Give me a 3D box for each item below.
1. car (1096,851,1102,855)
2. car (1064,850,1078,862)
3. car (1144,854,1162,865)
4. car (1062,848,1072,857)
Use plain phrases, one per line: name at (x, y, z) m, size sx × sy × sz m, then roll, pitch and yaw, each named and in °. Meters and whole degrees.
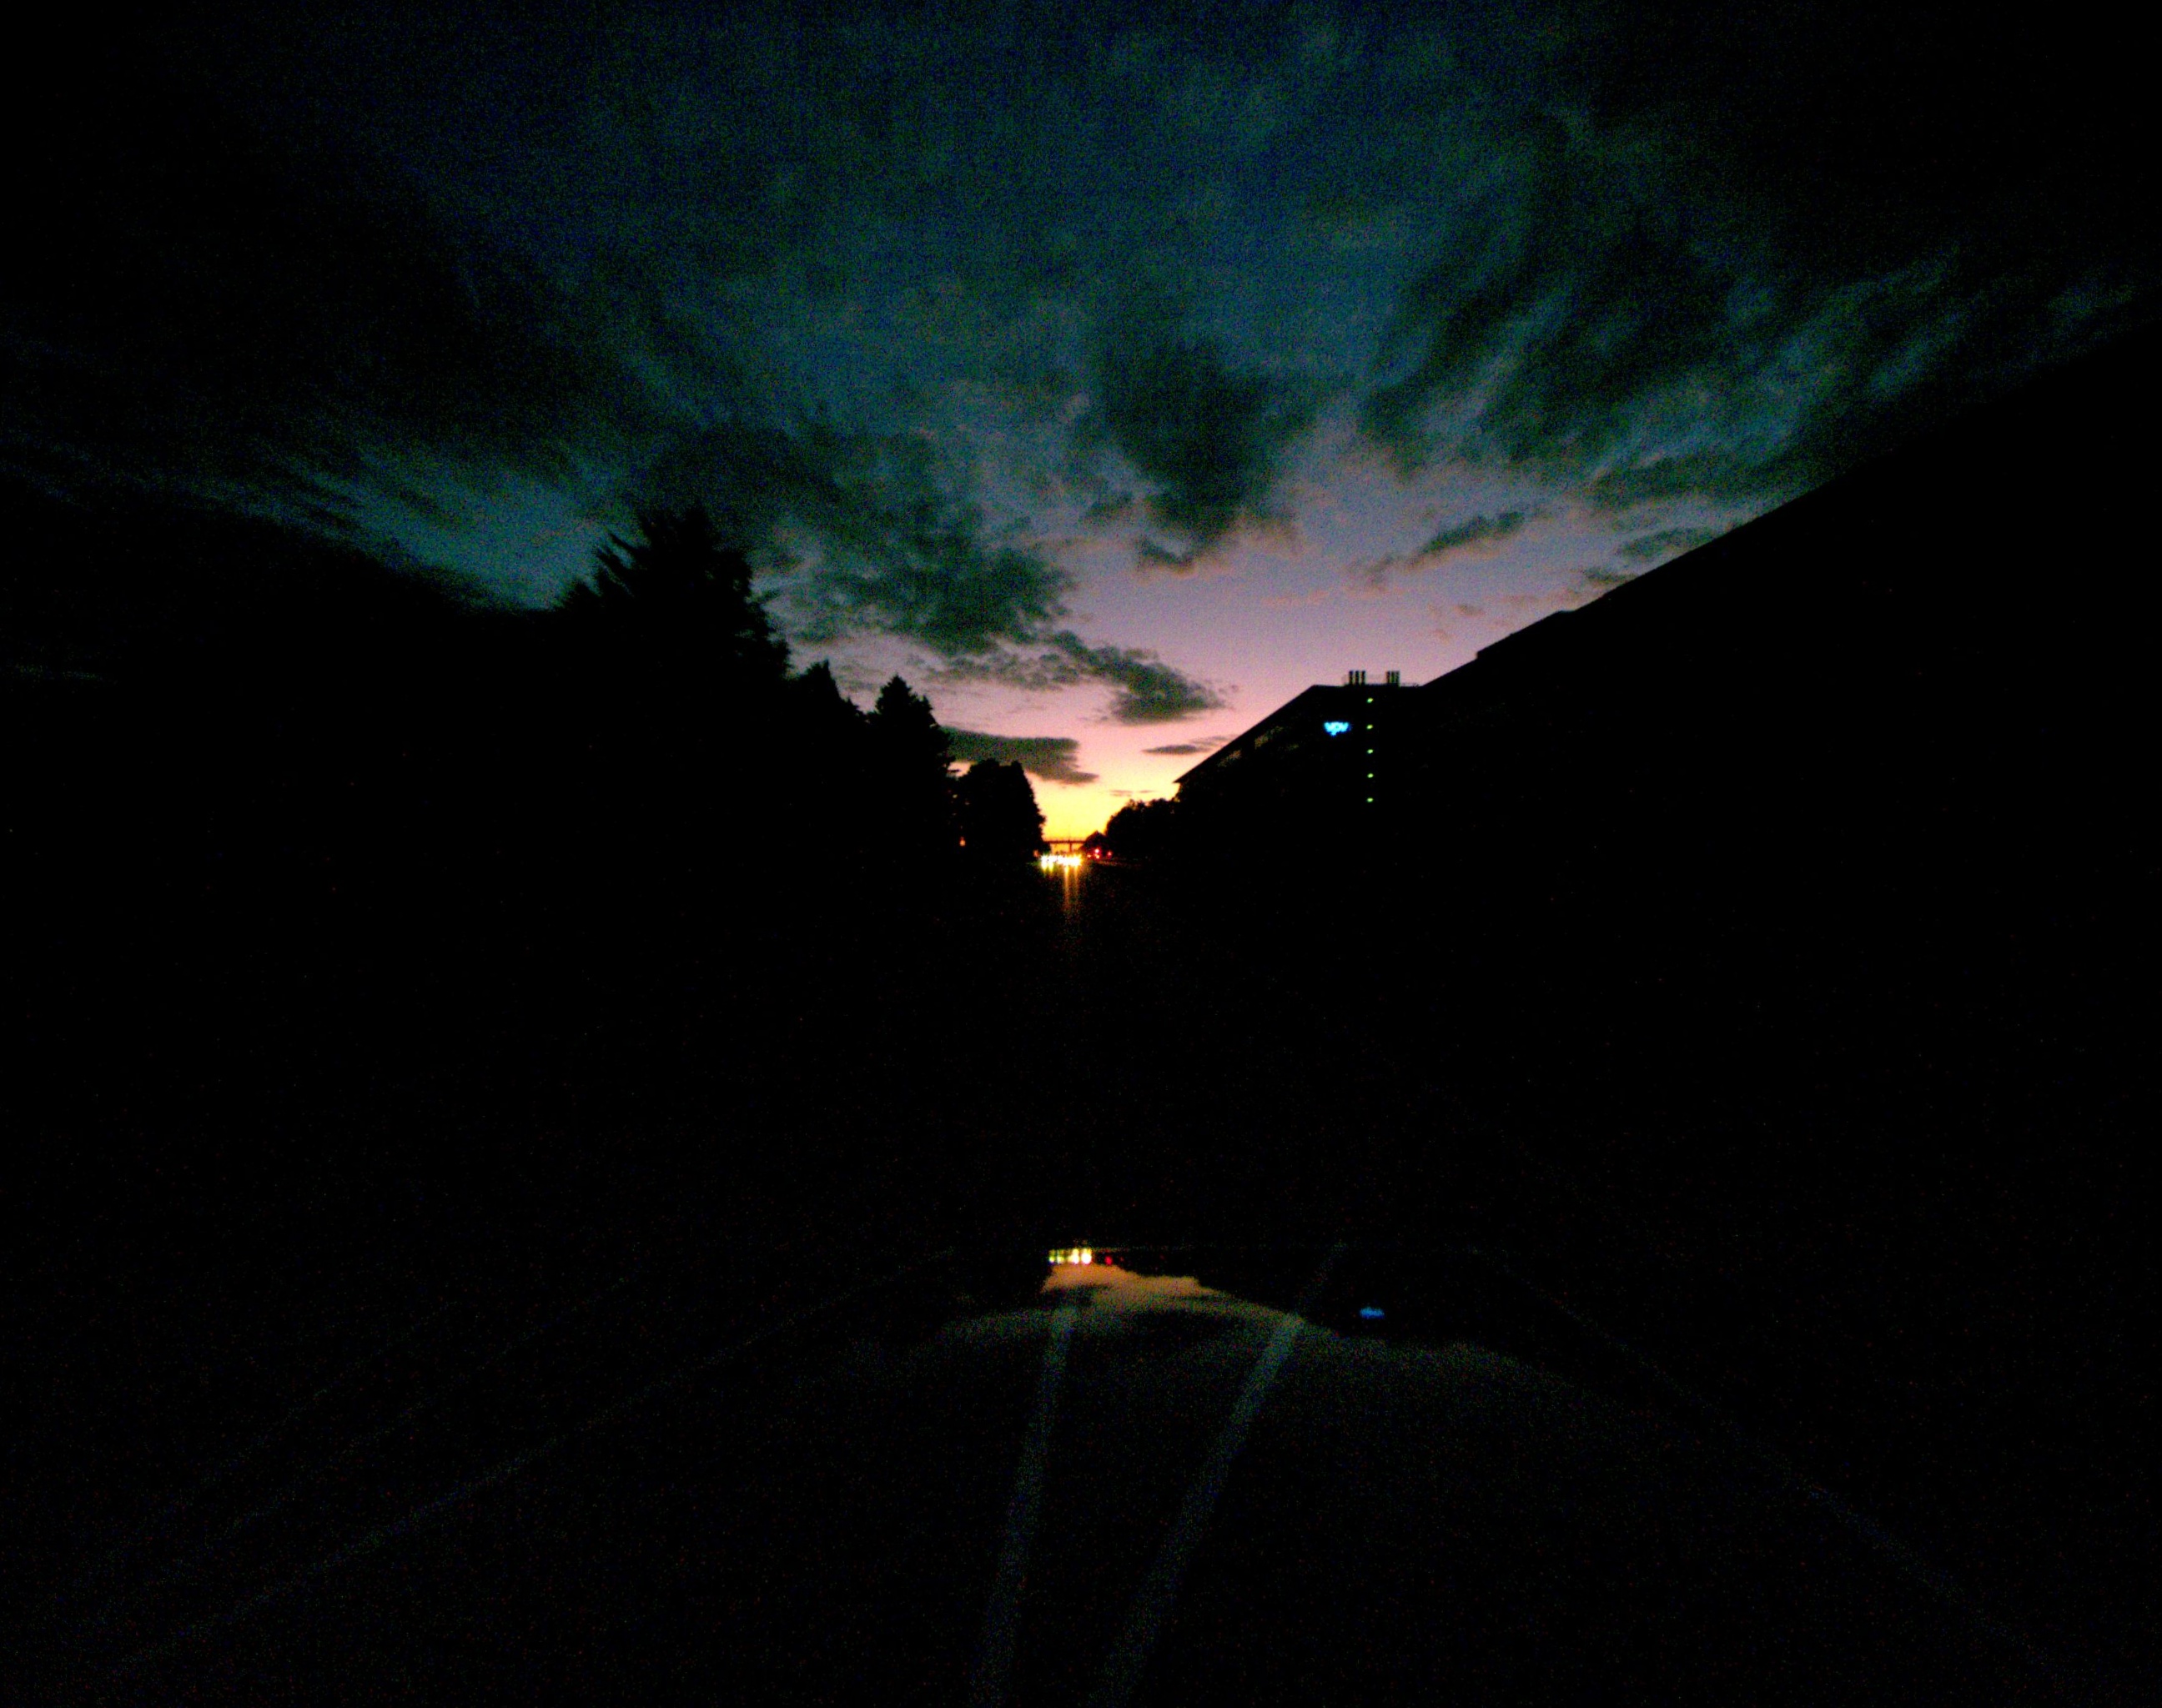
car at (5.492, -0.306, 231.446) m, size 1.693 × 1.372 × 3.571 m, roll -1°, pitch 0°, yaw -2°
car at (-1.215, 0.265, 96.741) m, size 1.756 × 1.447 × 3.803 m, roll -1°, pitch 0°, yaw 0°
car at (9.311, 0.698, 97.900) m, size 1.840 × 1.460 × 3.844 m, roll 1°, pitch 0°, yaw -2°
car at (-3.331, -0.270, 177.934) m, size 1.861 × 2.002 × 4.001 m, roll -3°, pitch 0°, yaw 6°
